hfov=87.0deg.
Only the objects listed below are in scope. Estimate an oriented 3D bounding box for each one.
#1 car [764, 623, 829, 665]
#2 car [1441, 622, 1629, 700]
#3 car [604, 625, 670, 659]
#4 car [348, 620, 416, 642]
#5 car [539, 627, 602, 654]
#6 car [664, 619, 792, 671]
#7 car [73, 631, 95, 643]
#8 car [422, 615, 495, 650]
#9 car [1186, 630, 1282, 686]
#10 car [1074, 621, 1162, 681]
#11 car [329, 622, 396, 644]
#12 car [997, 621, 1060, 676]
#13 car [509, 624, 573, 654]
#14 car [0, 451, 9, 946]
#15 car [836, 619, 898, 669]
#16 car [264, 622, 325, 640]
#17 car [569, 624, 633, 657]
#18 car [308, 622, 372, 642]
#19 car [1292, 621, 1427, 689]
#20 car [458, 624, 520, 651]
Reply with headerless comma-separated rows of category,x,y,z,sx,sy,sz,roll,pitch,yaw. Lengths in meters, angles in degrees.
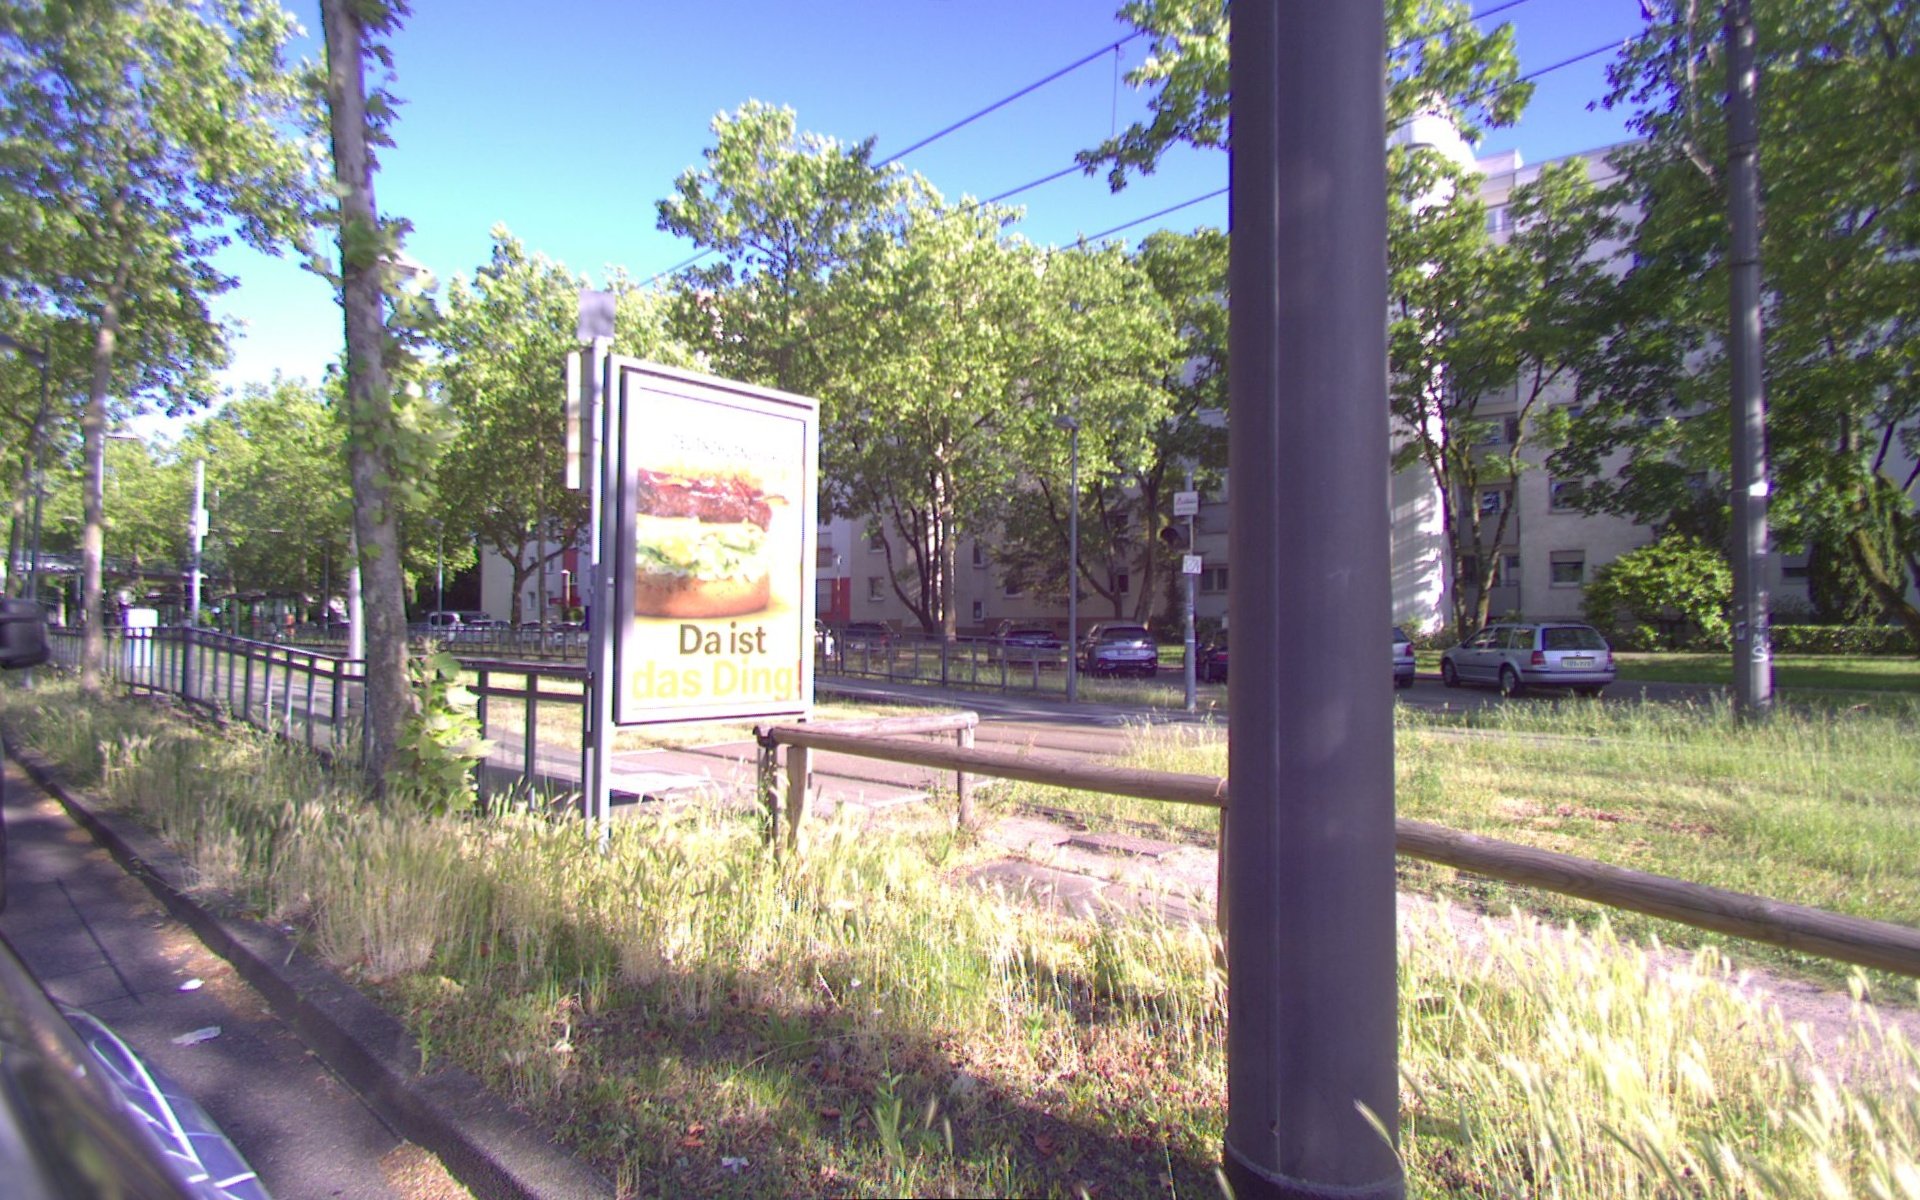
car,-5.907,1.565,36.916,1.664,1.444,3.679,0,-1,2
car,11.550,1.171,20.626,1.707,1.444,3.681,0,-1,1
car,-14.080,1.813,44.278,1.627,1.403,3.679,0,-1,2
car,-37.949,2.030,66.567,1.898,1.386,4.365,0,-1,1
car,-19.043,1.974,49.664,1.627,1.251,3.680,0,-1,1
car,-6.940,1.302,30.125,3.753,1.431,1.803,-1,-2,39
car,-109.043,4.602,125.928,3.294,1.370,1.651,-1,-2,41
car,-28.324,1.819,57.326,1.898,1.898,4.365,0,-1,1
car,6.732,1.395,25.205,1.602,1.256,3.677,0,-1,4
car,4.209,1.340,27.491,1.894,1.507,3.680,0,-1,2
car,-40.280,2.197,68.390,1.898,1.386,4.365,0,-1,1
car,1.936,1.362,29.444,1.664,1.482,3.680,0,-1,1
car,-21.121,1.952,51.132,1.627,1.460,3.680,0,-1,1
car,-6.687,0.453,5.295,5.111,2.131,2.014,-1,-1,41
car,-3.105,1.452,34.466,1.664,1.579,3.679,0,-1,2
car,-52.143,2.396,79.363,1.898,1.386,4.365,0,-1,1
car,-16.679,1.836,47.134,1.627,1.460,3.680,0,-1,1
car,-44.641,2.274,72.983,1.898,1.386,4.365,0,-1,1
car,9.155,1.214,23.525,1.679,1.444,3.681,0,-1,1
car,-25.795,2.028,55.517,1.627,1.407,3.680,0,-1,1
